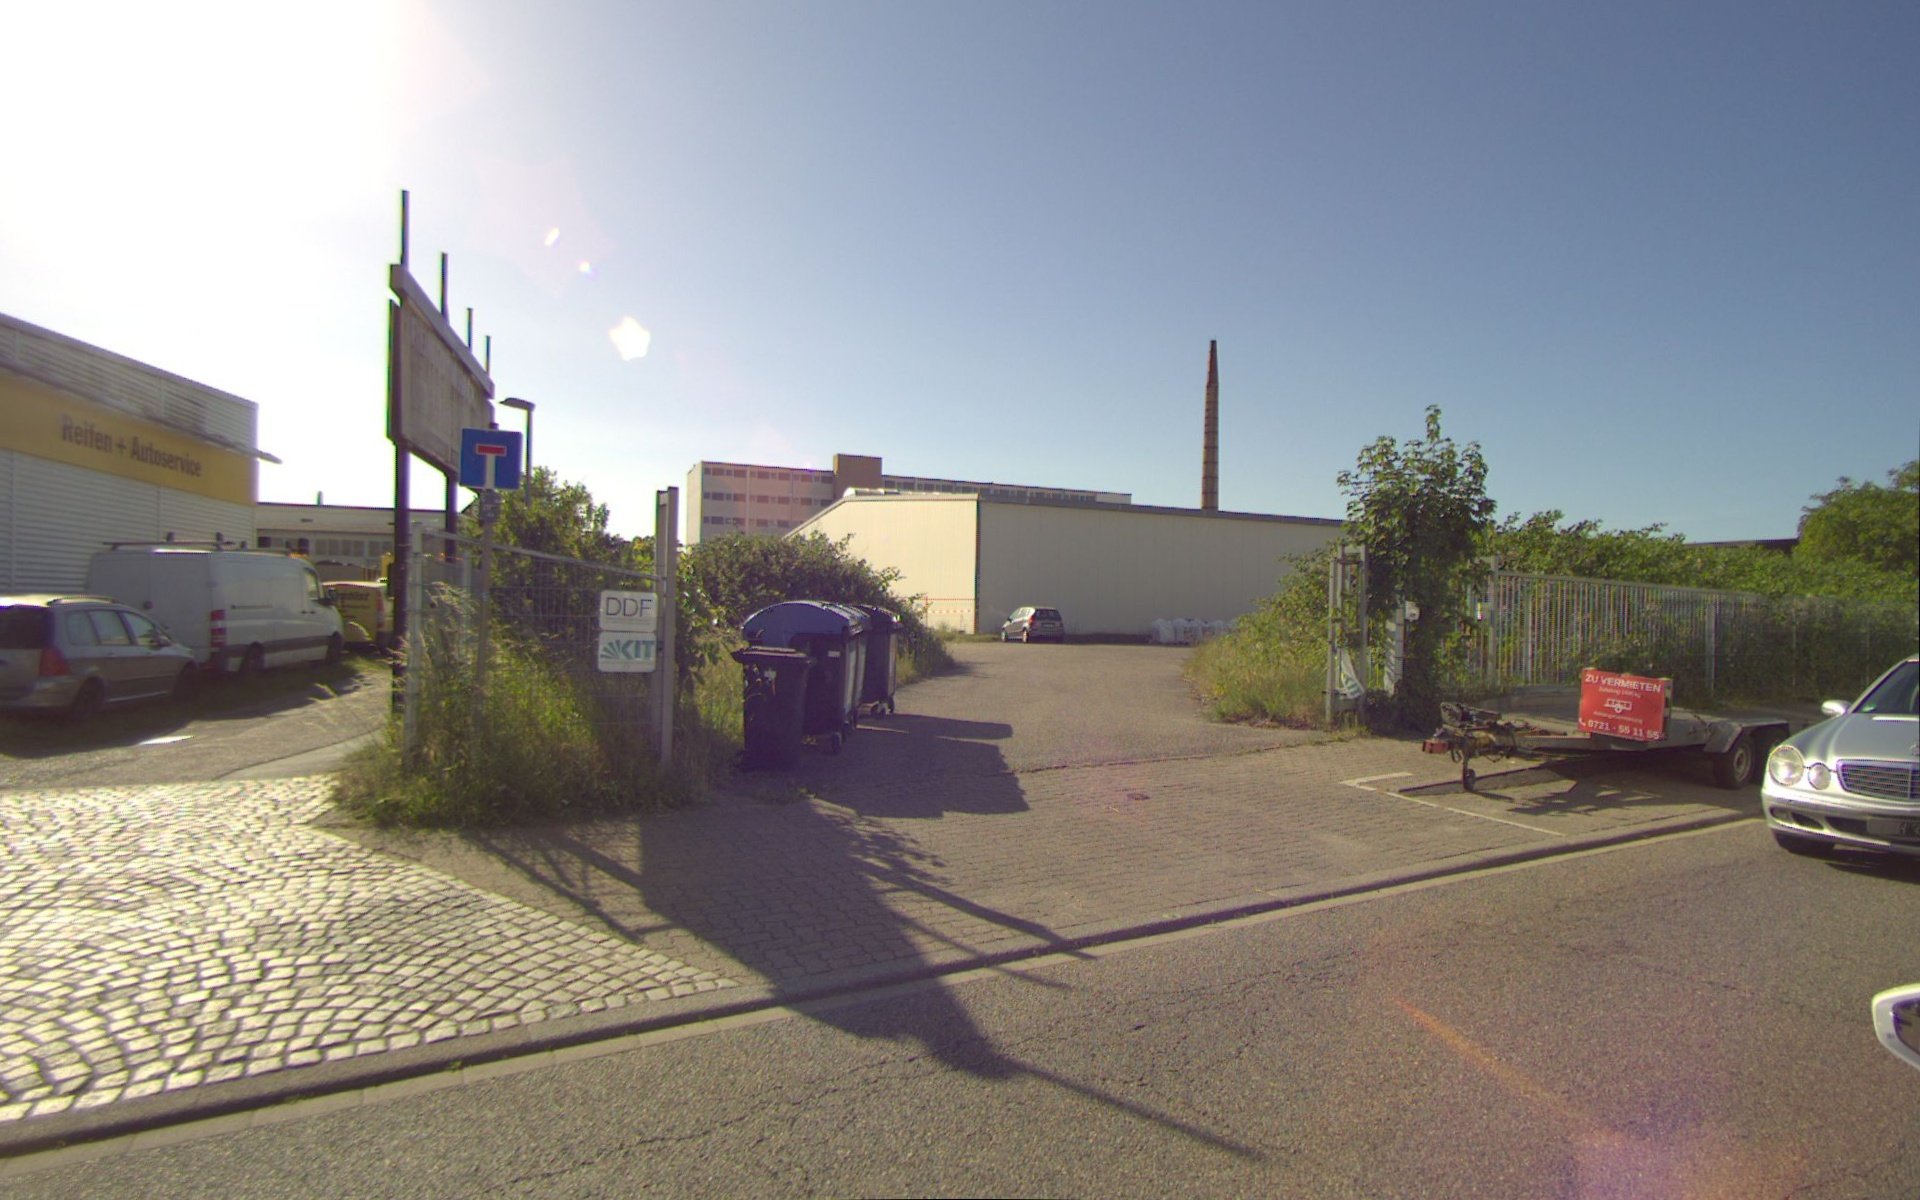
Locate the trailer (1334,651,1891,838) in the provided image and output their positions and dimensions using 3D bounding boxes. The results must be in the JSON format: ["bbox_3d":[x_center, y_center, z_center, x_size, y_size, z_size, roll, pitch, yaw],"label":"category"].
[{"bbox_3d":[6.926,1.264,10.430,6.173,1.094,2.363,1,3,-31],"label":"trailer"}]

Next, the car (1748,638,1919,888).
[{"bbox_3d":[7.615,1.043,7.124,4.310,1.467,1.738,2,0,-31],"label":"car"}]

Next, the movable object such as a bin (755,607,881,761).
[{"bbox_3d":[-1.395,0.792,10.212,1.074,1.424,1.623,1,0,-2],"label":"movable object such as a bin"}]

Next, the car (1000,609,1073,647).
[{"bbox_3d":[3.345,1.222,44.644,1.819,1.595,4.156,1,-1,-17],"label":"car"}]

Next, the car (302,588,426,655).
[{"bbox_3d":[-15.520,0.542,26.386,1.819,1.595,4.156,1,-1,-17],"label":"car"}]

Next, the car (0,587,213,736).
[{"bbox_3d":[-11.299,0.668,12.628,1.887,1.595,4.153,1,-1,-20],"label":"car"}]

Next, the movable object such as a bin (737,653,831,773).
[{"bbox_3d":[-1.549,0.993,8.947,0.735,0.985,0.616,2,-1,-6],"label":"movable object such as a bin"}]

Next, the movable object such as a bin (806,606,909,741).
[{"bbox_3d":[-1.168,0.812,11.776,1.074,1.461,1.466,1,0,-2],"label":"movable object such as a bin"}]

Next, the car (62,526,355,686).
[{"bbox_3d":[-13.222,0.132,18.234,2.168,2.438,5.444,1,-1,-13],"label":"car"}]

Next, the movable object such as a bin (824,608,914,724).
[{"bbox_3d":[-1.167,0.830,13.284,1.074,1.424,1.466,1,0,-2],"label":"movable object such as a bin"}]
